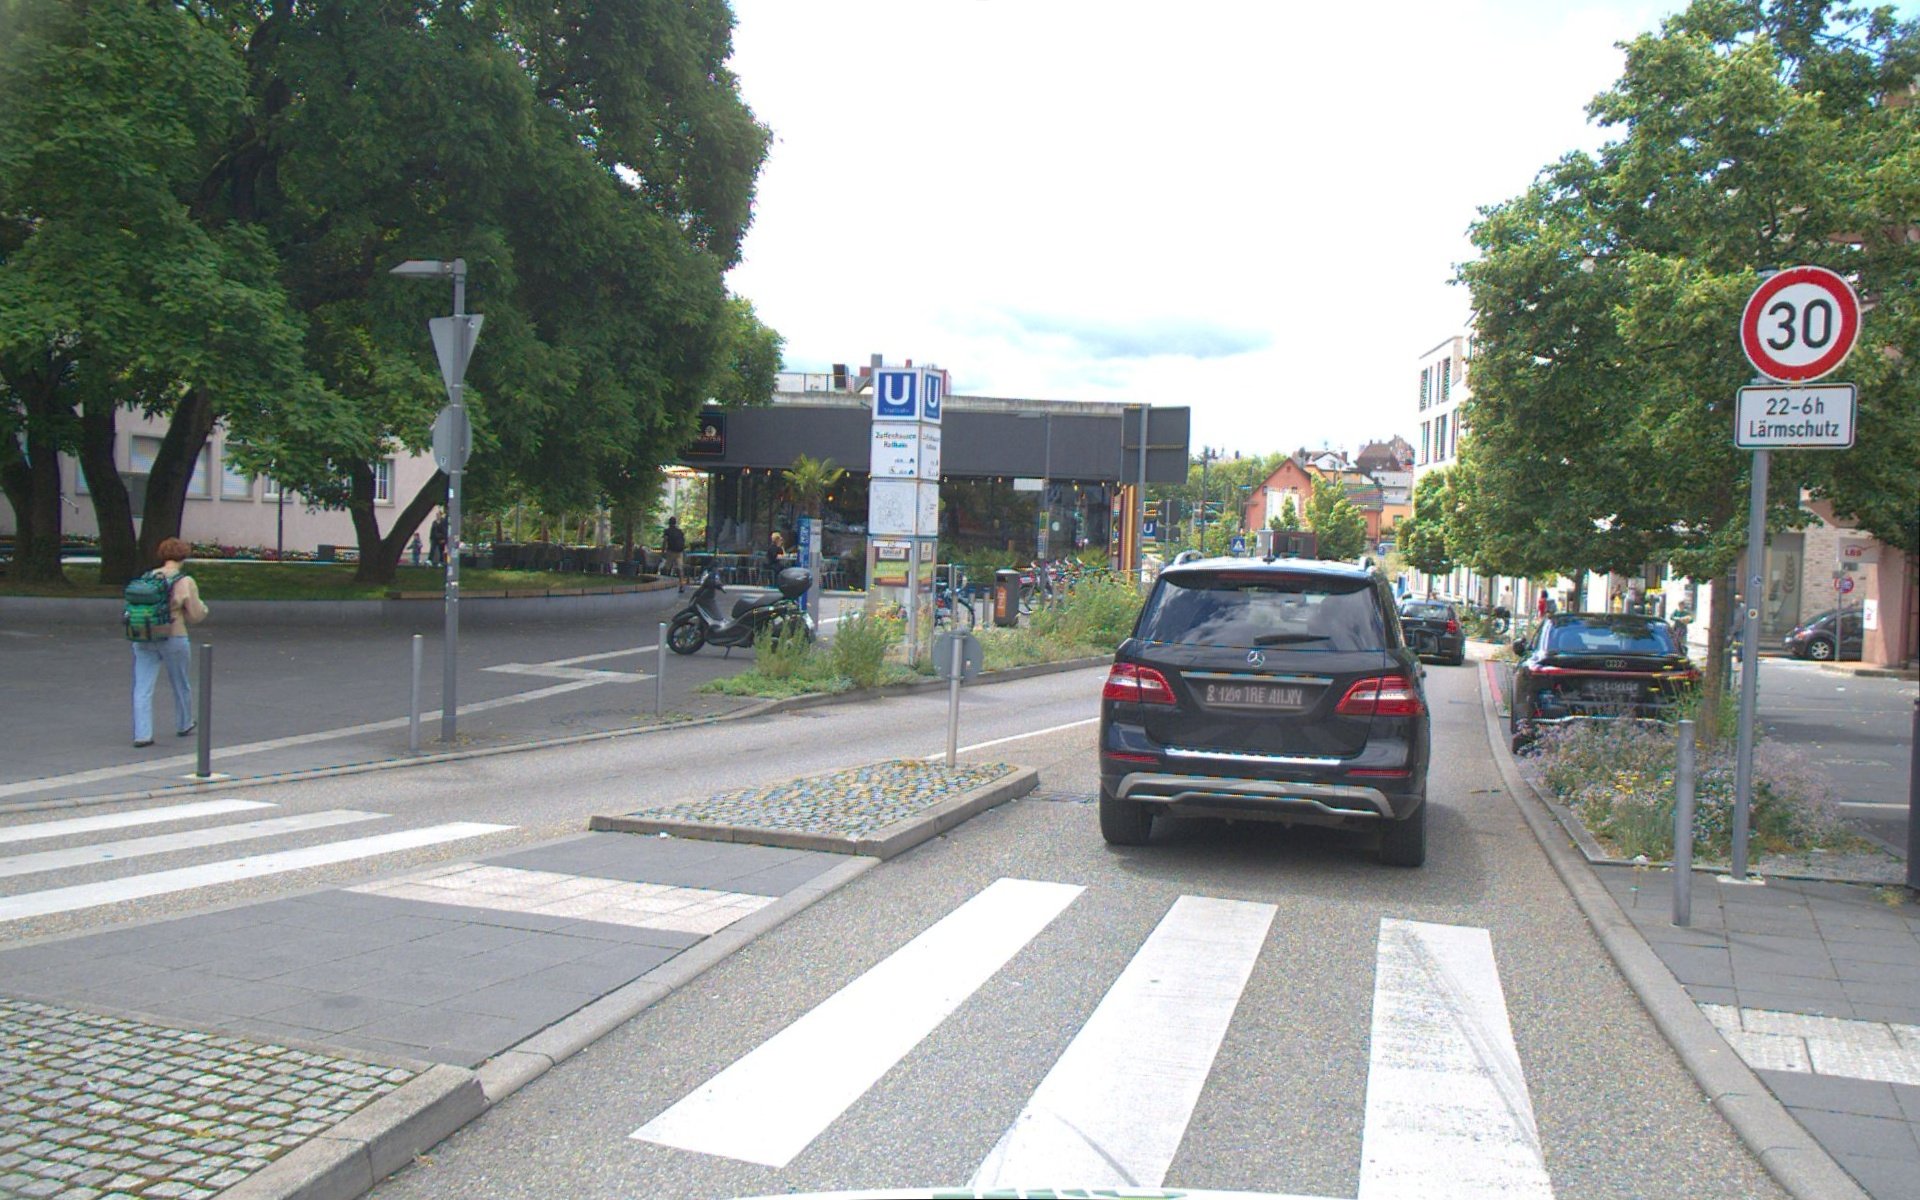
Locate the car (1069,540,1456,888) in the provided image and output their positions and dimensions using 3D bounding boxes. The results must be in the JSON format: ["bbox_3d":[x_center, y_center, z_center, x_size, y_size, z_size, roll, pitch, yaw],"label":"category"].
[{"bbox_3d":[2.116,0.567,10.903,1.984,1.757,4.437,1,1,14],"label":"car"}]

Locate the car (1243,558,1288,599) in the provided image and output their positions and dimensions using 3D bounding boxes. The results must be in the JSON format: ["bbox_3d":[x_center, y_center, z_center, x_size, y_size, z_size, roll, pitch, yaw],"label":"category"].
[{"bbox_3d":[15.441,-1.100,83.789,1.802,1.890,4.501,5,2,6],"label":"car"}]

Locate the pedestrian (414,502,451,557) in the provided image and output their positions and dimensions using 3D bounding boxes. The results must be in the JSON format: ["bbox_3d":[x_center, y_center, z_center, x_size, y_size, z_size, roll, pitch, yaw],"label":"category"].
[{"bbox_3d":[-15.776,-2.092,49.475,0.769,1.604,0.637,2,1,16],"label":"pedestrian"}]

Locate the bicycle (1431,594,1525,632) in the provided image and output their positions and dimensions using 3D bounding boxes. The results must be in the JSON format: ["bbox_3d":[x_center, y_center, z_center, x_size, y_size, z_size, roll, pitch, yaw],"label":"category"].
[{"bbox_3d":[17.784,0.445,56.849,2.994,1.166,0.710,2,1,13],"label":"bicycle"}]

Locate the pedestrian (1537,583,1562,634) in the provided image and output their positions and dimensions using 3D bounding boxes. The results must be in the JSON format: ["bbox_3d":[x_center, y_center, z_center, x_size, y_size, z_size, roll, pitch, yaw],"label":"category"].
[{"bbox_3d":[20.180,0.301,56.668,0.648,1.712,0.569,2,1,9],"label":"pedestrian"}]

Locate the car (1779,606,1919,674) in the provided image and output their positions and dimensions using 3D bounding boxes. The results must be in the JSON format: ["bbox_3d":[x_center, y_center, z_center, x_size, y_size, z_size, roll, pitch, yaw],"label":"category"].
[{"bbox_3d":[25.892,1.150,47.444,3.904,1.593,1.848,5,2,16],"label":"car"}]

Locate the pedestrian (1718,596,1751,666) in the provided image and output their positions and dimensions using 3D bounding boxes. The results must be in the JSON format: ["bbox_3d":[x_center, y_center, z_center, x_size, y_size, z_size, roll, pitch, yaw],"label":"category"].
[{"bbox_3d":[18.951,0.745,40.480,0.618,1.654,0.700,2,1,19],"label":"pedestrian"}]

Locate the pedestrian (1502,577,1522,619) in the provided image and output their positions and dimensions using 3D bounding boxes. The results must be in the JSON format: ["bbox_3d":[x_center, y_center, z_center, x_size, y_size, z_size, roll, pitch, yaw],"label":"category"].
[{"bbox_3d":[22.677,-0.080,67.997,0.548,1.712,0.568,2,1,-5],"label":"pedestrian"}]

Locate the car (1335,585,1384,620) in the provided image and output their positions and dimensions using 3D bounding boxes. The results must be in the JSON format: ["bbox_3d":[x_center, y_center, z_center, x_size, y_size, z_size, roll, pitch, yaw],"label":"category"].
[{"bbox_3d":[17.006,0.083,70.556,1.574,1.407,3.840,2,1,7],"label":"car"}]

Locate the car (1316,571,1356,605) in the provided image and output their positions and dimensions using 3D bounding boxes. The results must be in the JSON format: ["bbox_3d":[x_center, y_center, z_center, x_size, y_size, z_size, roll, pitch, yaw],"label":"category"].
[{"bbox_3d":[19.232,-0.652,84.732,1.802,1.550,4.004,5,2,11],"label":"car"}]

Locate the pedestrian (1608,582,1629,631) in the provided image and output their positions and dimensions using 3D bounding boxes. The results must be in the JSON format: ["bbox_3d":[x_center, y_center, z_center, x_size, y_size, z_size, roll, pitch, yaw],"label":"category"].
[{"bbox_3d":[23.628,0.232,59.333,0.547,1.712,0.569,2,1,14],"label":"pedestrian"}]

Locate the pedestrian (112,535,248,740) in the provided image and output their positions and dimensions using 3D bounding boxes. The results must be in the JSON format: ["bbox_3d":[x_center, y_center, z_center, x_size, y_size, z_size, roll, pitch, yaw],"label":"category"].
[{"bbox_3d":[-6.168,0.273,13.093,0.539,1.540,0.787,4,3,25],"label":"pedestrian"}]

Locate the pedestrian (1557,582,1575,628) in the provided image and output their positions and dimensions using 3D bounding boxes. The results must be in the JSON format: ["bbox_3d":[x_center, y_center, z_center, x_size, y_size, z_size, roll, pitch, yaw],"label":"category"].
[{"bbox_3d":[22.951,0.203,62.656,0.547,1.712,0.569,2,1,14],"label":"pedestrian"}]

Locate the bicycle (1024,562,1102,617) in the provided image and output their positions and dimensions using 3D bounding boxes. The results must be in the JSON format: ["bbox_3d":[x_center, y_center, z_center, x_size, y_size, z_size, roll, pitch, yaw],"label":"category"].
[{"bbox_3d":[2.184,-0.230,35.186,1.535,1.087,0.539,2,1,18],"label":"bicycle"}]

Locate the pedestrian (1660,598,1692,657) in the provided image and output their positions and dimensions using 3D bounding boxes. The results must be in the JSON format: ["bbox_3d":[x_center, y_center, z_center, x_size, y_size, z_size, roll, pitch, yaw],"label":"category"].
[{"bbox_3d":[19.951,0.764,46.091,0.696,1.590,0.569,2,1,14],"label":"pedestrian"}]

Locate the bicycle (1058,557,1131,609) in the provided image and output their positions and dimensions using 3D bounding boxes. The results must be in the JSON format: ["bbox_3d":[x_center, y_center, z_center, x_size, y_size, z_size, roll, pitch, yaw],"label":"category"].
[{"bbox_3d":[3.066,-0.396,37.705,1.535,1.110,0.578,2,1,18],"label":"bicycle"}]

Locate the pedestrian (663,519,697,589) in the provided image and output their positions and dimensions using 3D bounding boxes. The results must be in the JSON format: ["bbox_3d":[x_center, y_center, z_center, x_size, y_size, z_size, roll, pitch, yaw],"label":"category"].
[{"bbox_3d":[-6.514,-1.075,38.486,0.601,1.604,0.583,2,1,6],"label":"pedestrian"}]

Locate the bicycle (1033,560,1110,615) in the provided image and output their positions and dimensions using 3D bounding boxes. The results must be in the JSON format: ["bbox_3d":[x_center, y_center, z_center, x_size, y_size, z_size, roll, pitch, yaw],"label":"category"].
[{"bbox_3d":[2.424,-0.277,36.004,1.535,1.110,0.578,2,1,18],"label":"bicycle"}]

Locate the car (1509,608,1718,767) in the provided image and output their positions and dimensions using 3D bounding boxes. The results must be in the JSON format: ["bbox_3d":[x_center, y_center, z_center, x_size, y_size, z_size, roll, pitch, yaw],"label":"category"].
[{"bbox_3d":[6.906,0.829,17.855,1.817,1.430,4.376,1,0,18],"label":"car"}]

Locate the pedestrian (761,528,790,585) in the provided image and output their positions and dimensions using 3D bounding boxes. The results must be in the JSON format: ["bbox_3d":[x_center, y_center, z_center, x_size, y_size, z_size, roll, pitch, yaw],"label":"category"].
[{"bbox_3d":[-4.620,-1.085,41.446,0.569,1.403,0.616,2,1,5],"label":"pedestrian"}]

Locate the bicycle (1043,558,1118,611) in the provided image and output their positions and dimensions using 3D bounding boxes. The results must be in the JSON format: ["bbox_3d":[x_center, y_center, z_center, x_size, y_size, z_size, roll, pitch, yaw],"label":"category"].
[{"bbox_3d":[2.684,-0.351,36.849,1.535,1.110,0.578,2,1,18],"label":"bicycle"}]

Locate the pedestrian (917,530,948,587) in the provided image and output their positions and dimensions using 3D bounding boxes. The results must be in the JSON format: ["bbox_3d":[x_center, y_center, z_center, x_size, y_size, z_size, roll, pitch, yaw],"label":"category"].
[{"bbox_3d":[-0.730,-1.090,43.823,0.569,1.489,0.615,2,1,25],"label":"pedestrian"}]

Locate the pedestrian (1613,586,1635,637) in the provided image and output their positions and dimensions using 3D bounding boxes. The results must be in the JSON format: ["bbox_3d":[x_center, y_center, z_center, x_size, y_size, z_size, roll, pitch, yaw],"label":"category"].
[{"bbox_3d":[22.942,0.381,57.149,0.547,1.721,0.639,2,1,14],"label":"pedestrian"}]

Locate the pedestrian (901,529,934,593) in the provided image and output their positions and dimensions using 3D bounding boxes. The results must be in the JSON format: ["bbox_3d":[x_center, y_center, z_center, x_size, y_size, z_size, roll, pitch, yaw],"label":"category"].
[{"bbox_3d":[-1.118,-1.017,43.080,0.577,1.646,0.608,1,1,-38],"label":"pedestrian"}]

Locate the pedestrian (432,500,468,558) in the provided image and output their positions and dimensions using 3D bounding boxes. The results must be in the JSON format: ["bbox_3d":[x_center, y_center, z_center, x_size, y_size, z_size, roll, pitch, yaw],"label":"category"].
[{"bbox_3d":[-14.960,-2.086,48.534,0.769,1.656,0.637,2,1,16],"label":"pedestrian"}]

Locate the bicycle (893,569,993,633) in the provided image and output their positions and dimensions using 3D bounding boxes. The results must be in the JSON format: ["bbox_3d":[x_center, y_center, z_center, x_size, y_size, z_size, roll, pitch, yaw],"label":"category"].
[{"bbox_3d":[-0.290,0.014,27.915,1.579,1.014,0.500,3,1,24],"label":"bicycle"}]

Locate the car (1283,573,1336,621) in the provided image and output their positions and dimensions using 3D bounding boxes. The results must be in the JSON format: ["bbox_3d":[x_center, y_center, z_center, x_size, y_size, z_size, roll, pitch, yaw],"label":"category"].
[{"bbox_3d":[13.455,-0.132,63.591,1.802,1.635,4.004,5,2,13],"label":"car"}]

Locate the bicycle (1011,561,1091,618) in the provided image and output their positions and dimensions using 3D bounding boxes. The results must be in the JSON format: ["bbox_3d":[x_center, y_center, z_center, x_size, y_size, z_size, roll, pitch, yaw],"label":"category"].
[{"bbox_3d":[1.902,-0.223,34.467,1.535,1.110,0.578,2,1,18],"label":"bicycle"}]

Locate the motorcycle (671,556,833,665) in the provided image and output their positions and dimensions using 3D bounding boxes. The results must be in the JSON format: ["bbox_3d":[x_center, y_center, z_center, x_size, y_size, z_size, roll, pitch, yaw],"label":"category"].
[{"bbox_3d":[-2.819,0.121,22.348,2.088,1.311,0.583,4,4,19],"label":"motorcycle"}]

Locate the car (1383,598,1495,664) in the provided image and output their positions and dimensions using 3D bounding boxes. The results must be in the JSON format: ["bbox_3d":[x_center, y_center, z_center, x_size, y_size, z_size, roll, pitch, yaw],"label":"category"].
[{"bbox_3d":[11.193,0.686,38.494,1.579,1.407,3.828,2,1,31],"label":"car"}]
